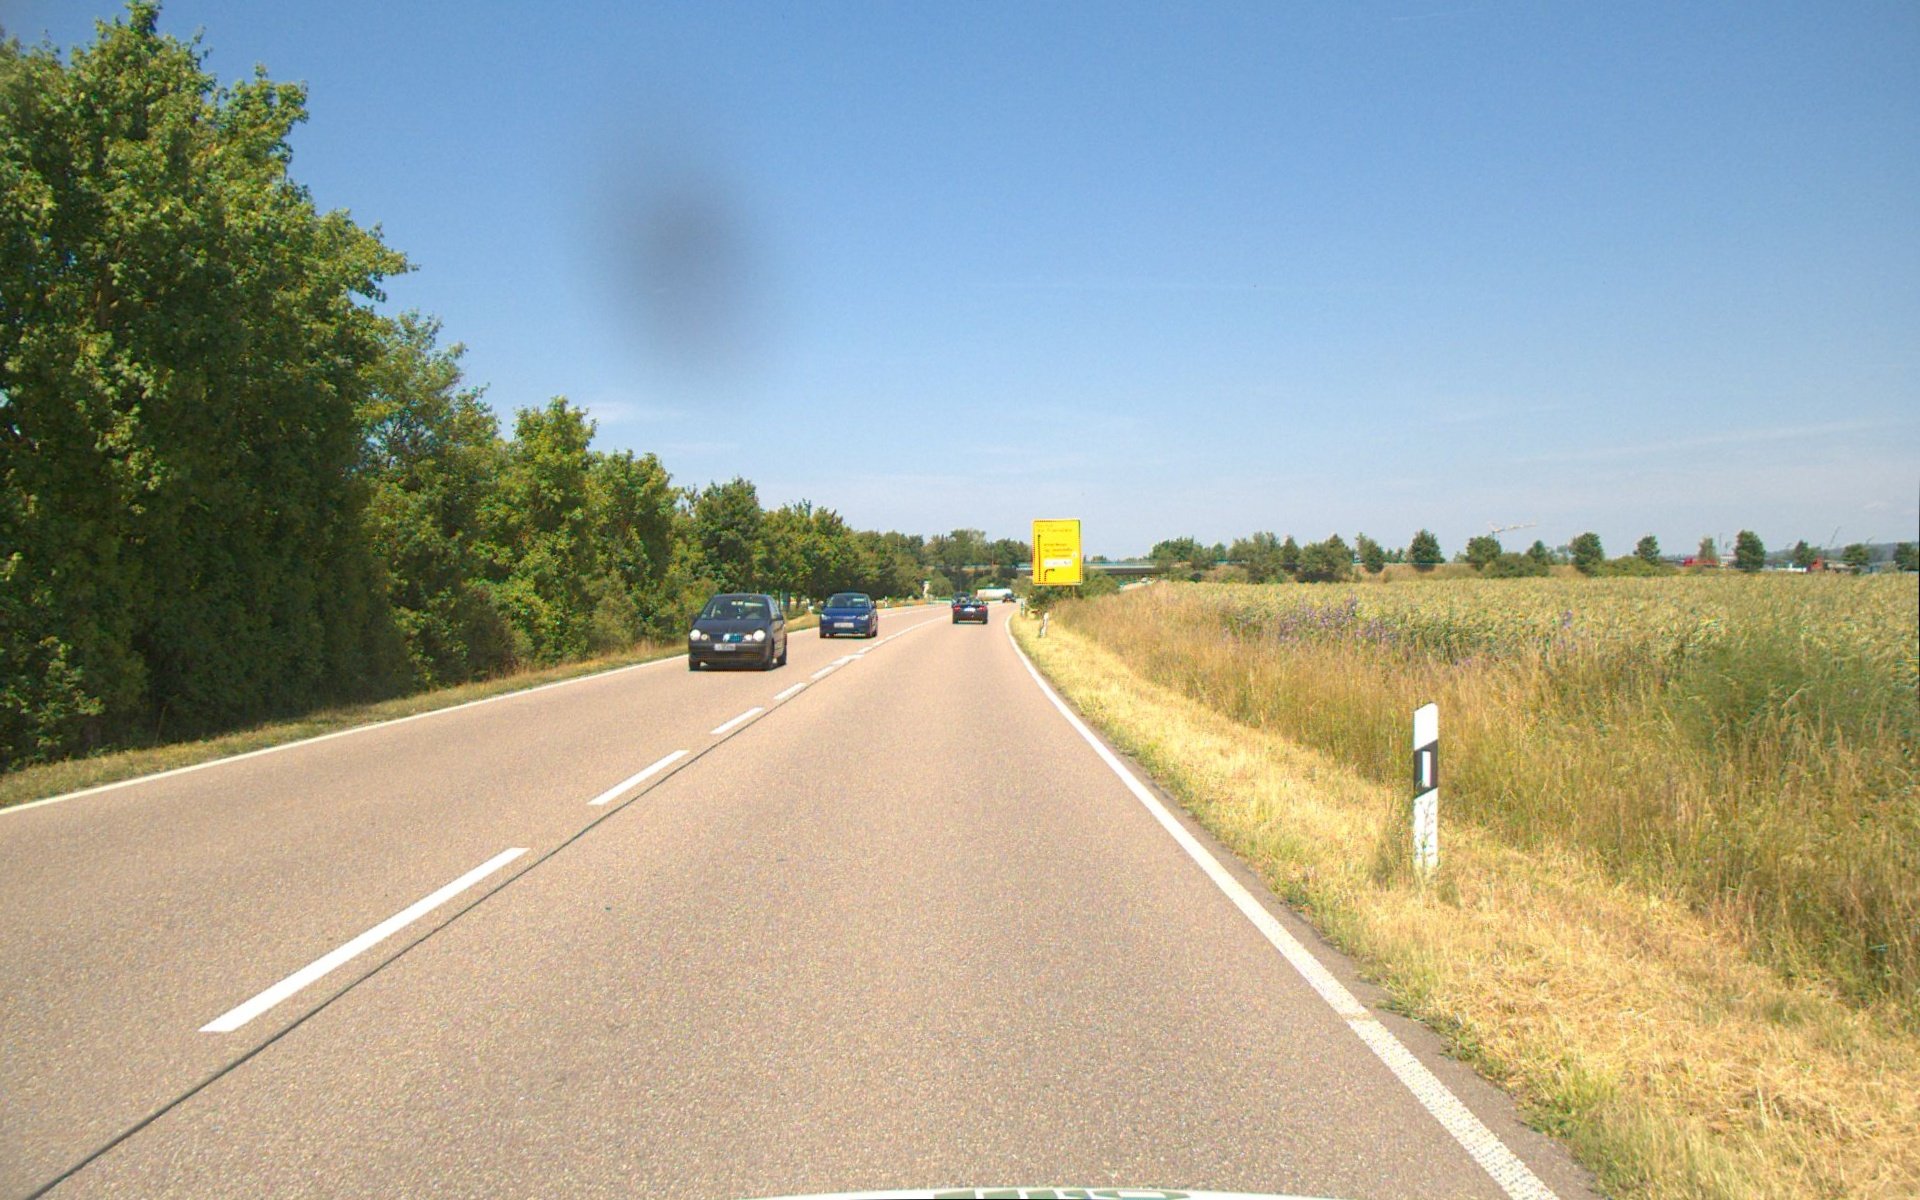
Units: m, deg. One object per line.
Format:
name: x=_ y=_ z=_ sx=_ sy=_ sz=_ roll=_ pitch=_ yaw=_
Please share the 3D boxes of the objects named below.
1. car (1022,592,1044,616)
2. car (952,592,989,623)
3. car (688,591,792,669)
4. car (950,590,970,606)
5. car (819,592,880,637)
car: x=6.570 y=0.364 z=148.478 sx=1.711 sy=2.049 sz=3.999 roll=1 pitch=-1 yaw=-1
car: x=0.532 y=0.381 z=81.822 sx=1.777 sy=1.466 sz=4.000 roll=1 pitch=0 yaw=0
car: x=-4.341 y=0.560 z=33.082 sx=1.565 sy=1.467 sz=3.999 roll=0 pitch=0 yaw=-1
car: x=-0.018 y=-0.154 z=153.327 sx=1.744 sy=1.445 sz=4.535 roll=0 pitch=0 yaw=1
car: x=-3.652 y=0.456 z=55.167 sx=1.618 sy=1.431 sz=4.001 roll=0 pitch=0 yaw=2
